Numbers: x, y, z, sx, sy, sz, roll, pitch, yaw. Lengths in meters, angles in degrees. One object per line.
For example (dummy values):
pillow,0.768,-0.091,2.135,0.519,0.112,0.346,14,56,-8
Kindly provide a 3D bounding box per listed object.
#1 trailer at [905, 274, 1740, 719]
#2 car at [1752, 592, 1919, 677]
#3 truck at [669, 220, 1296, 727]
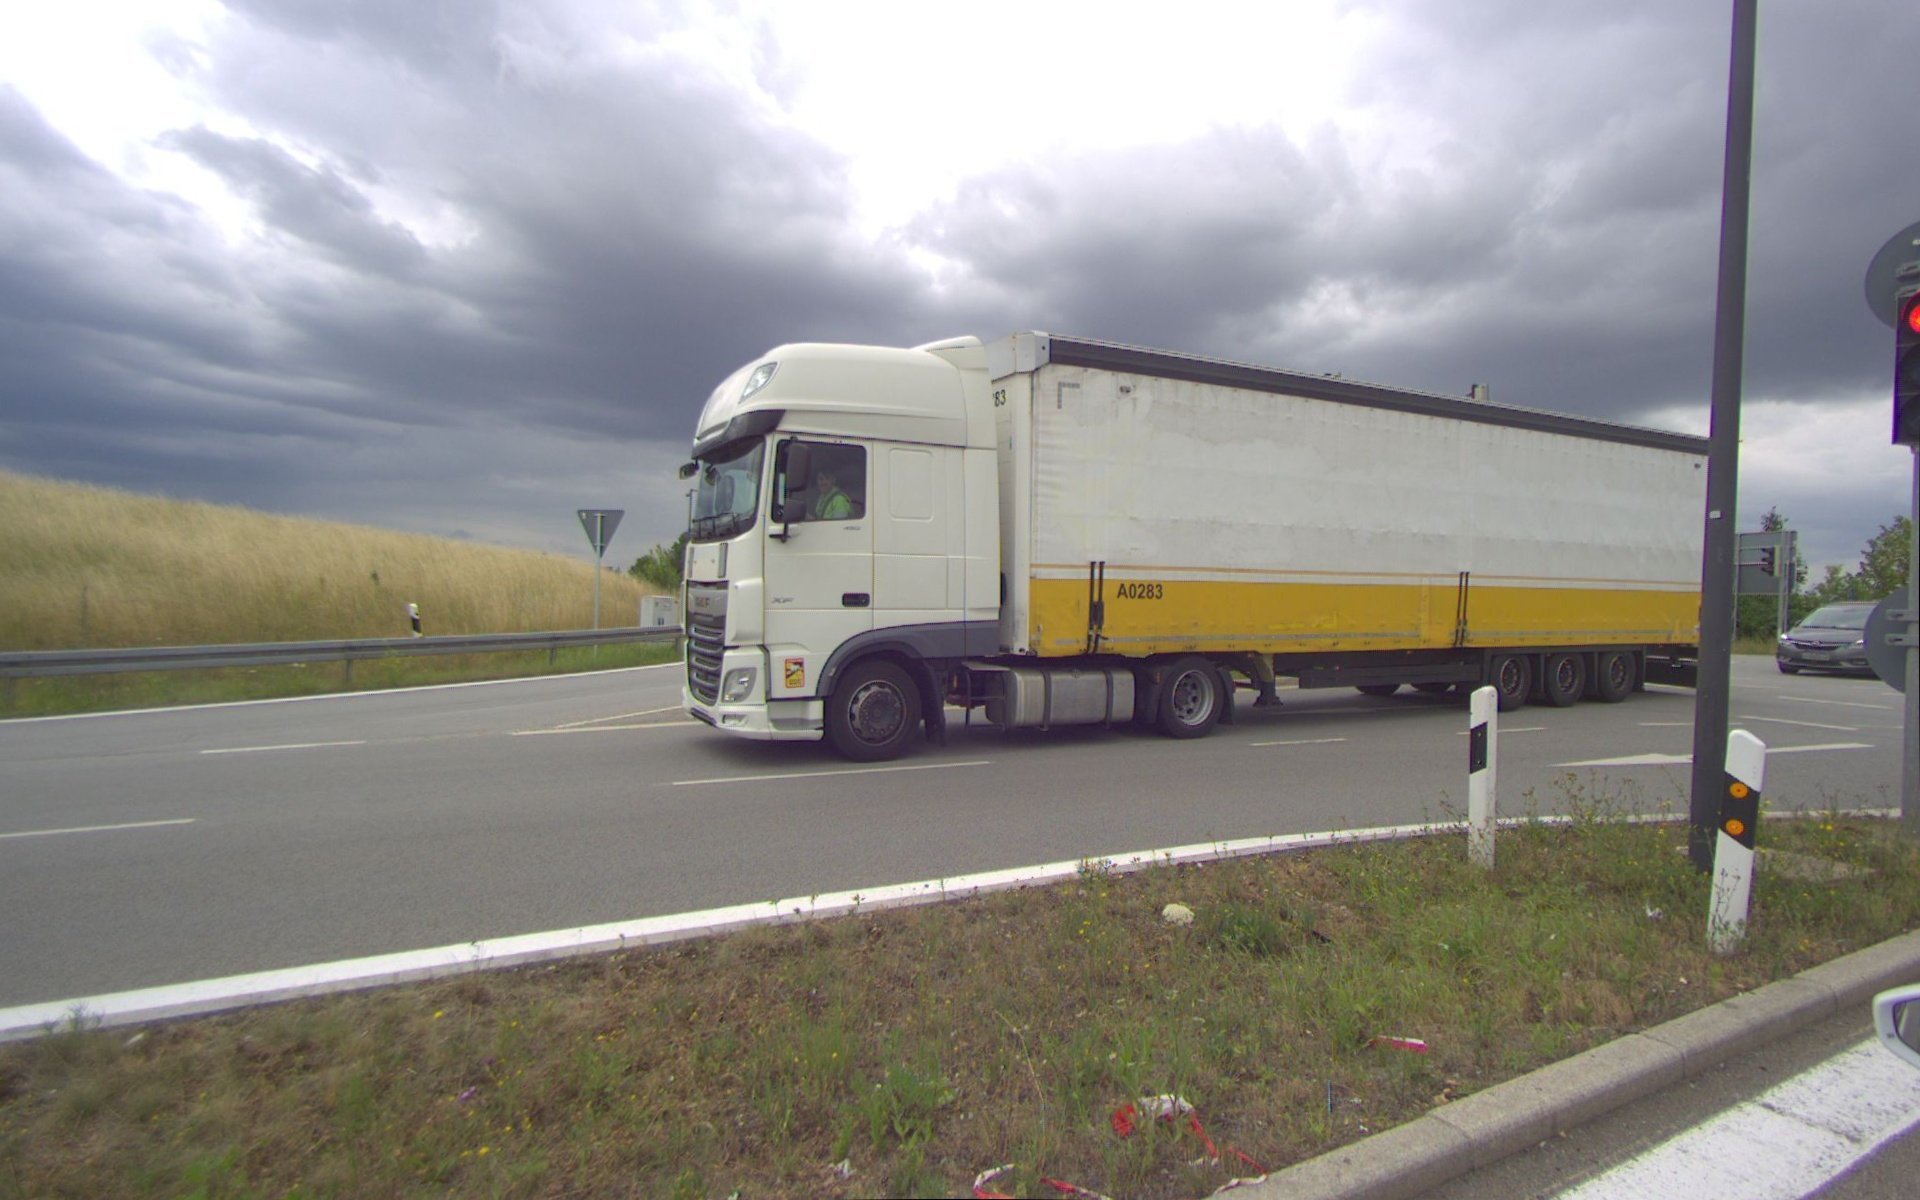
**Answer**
trailer,5.993,-0.802,14.134,13.673,4.266,2.680,2,0,-29
car,19.917,0.765,22.464,4.403,1.716,1.984,2,0,-30
truck,0.358,-0.964,11.005,6.325,4.196,2.638,2,0,-29
